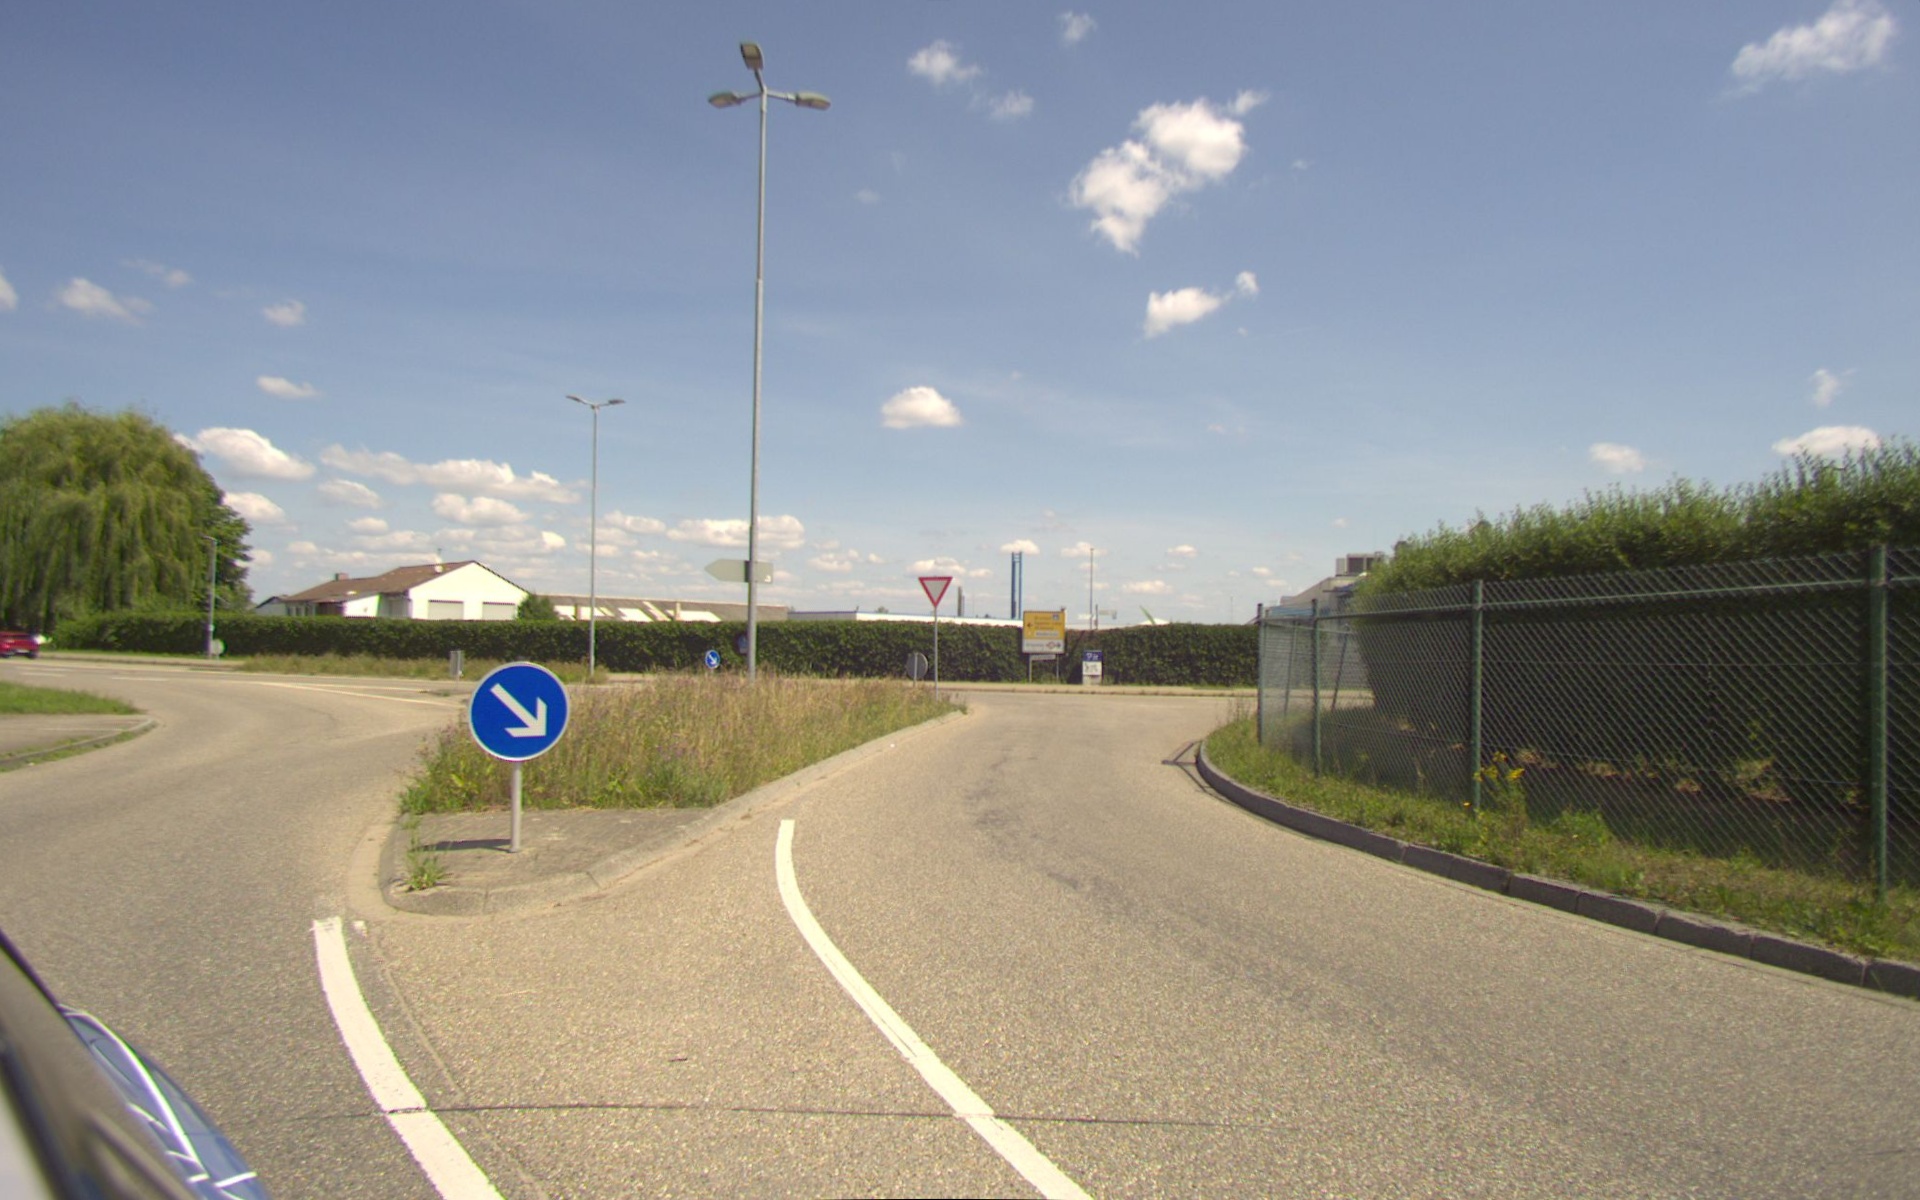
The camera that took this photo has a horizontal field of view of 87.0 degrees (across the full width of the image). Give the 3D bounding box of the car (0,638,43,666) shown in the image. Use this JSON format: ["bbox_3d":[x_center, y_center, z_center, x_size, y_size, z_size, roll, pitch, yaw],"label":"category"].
[{"bbox_3d":[-51.177,2.757,53.925,4.361,1.475,1.870,-1,-4,25],"label":"car"}]
